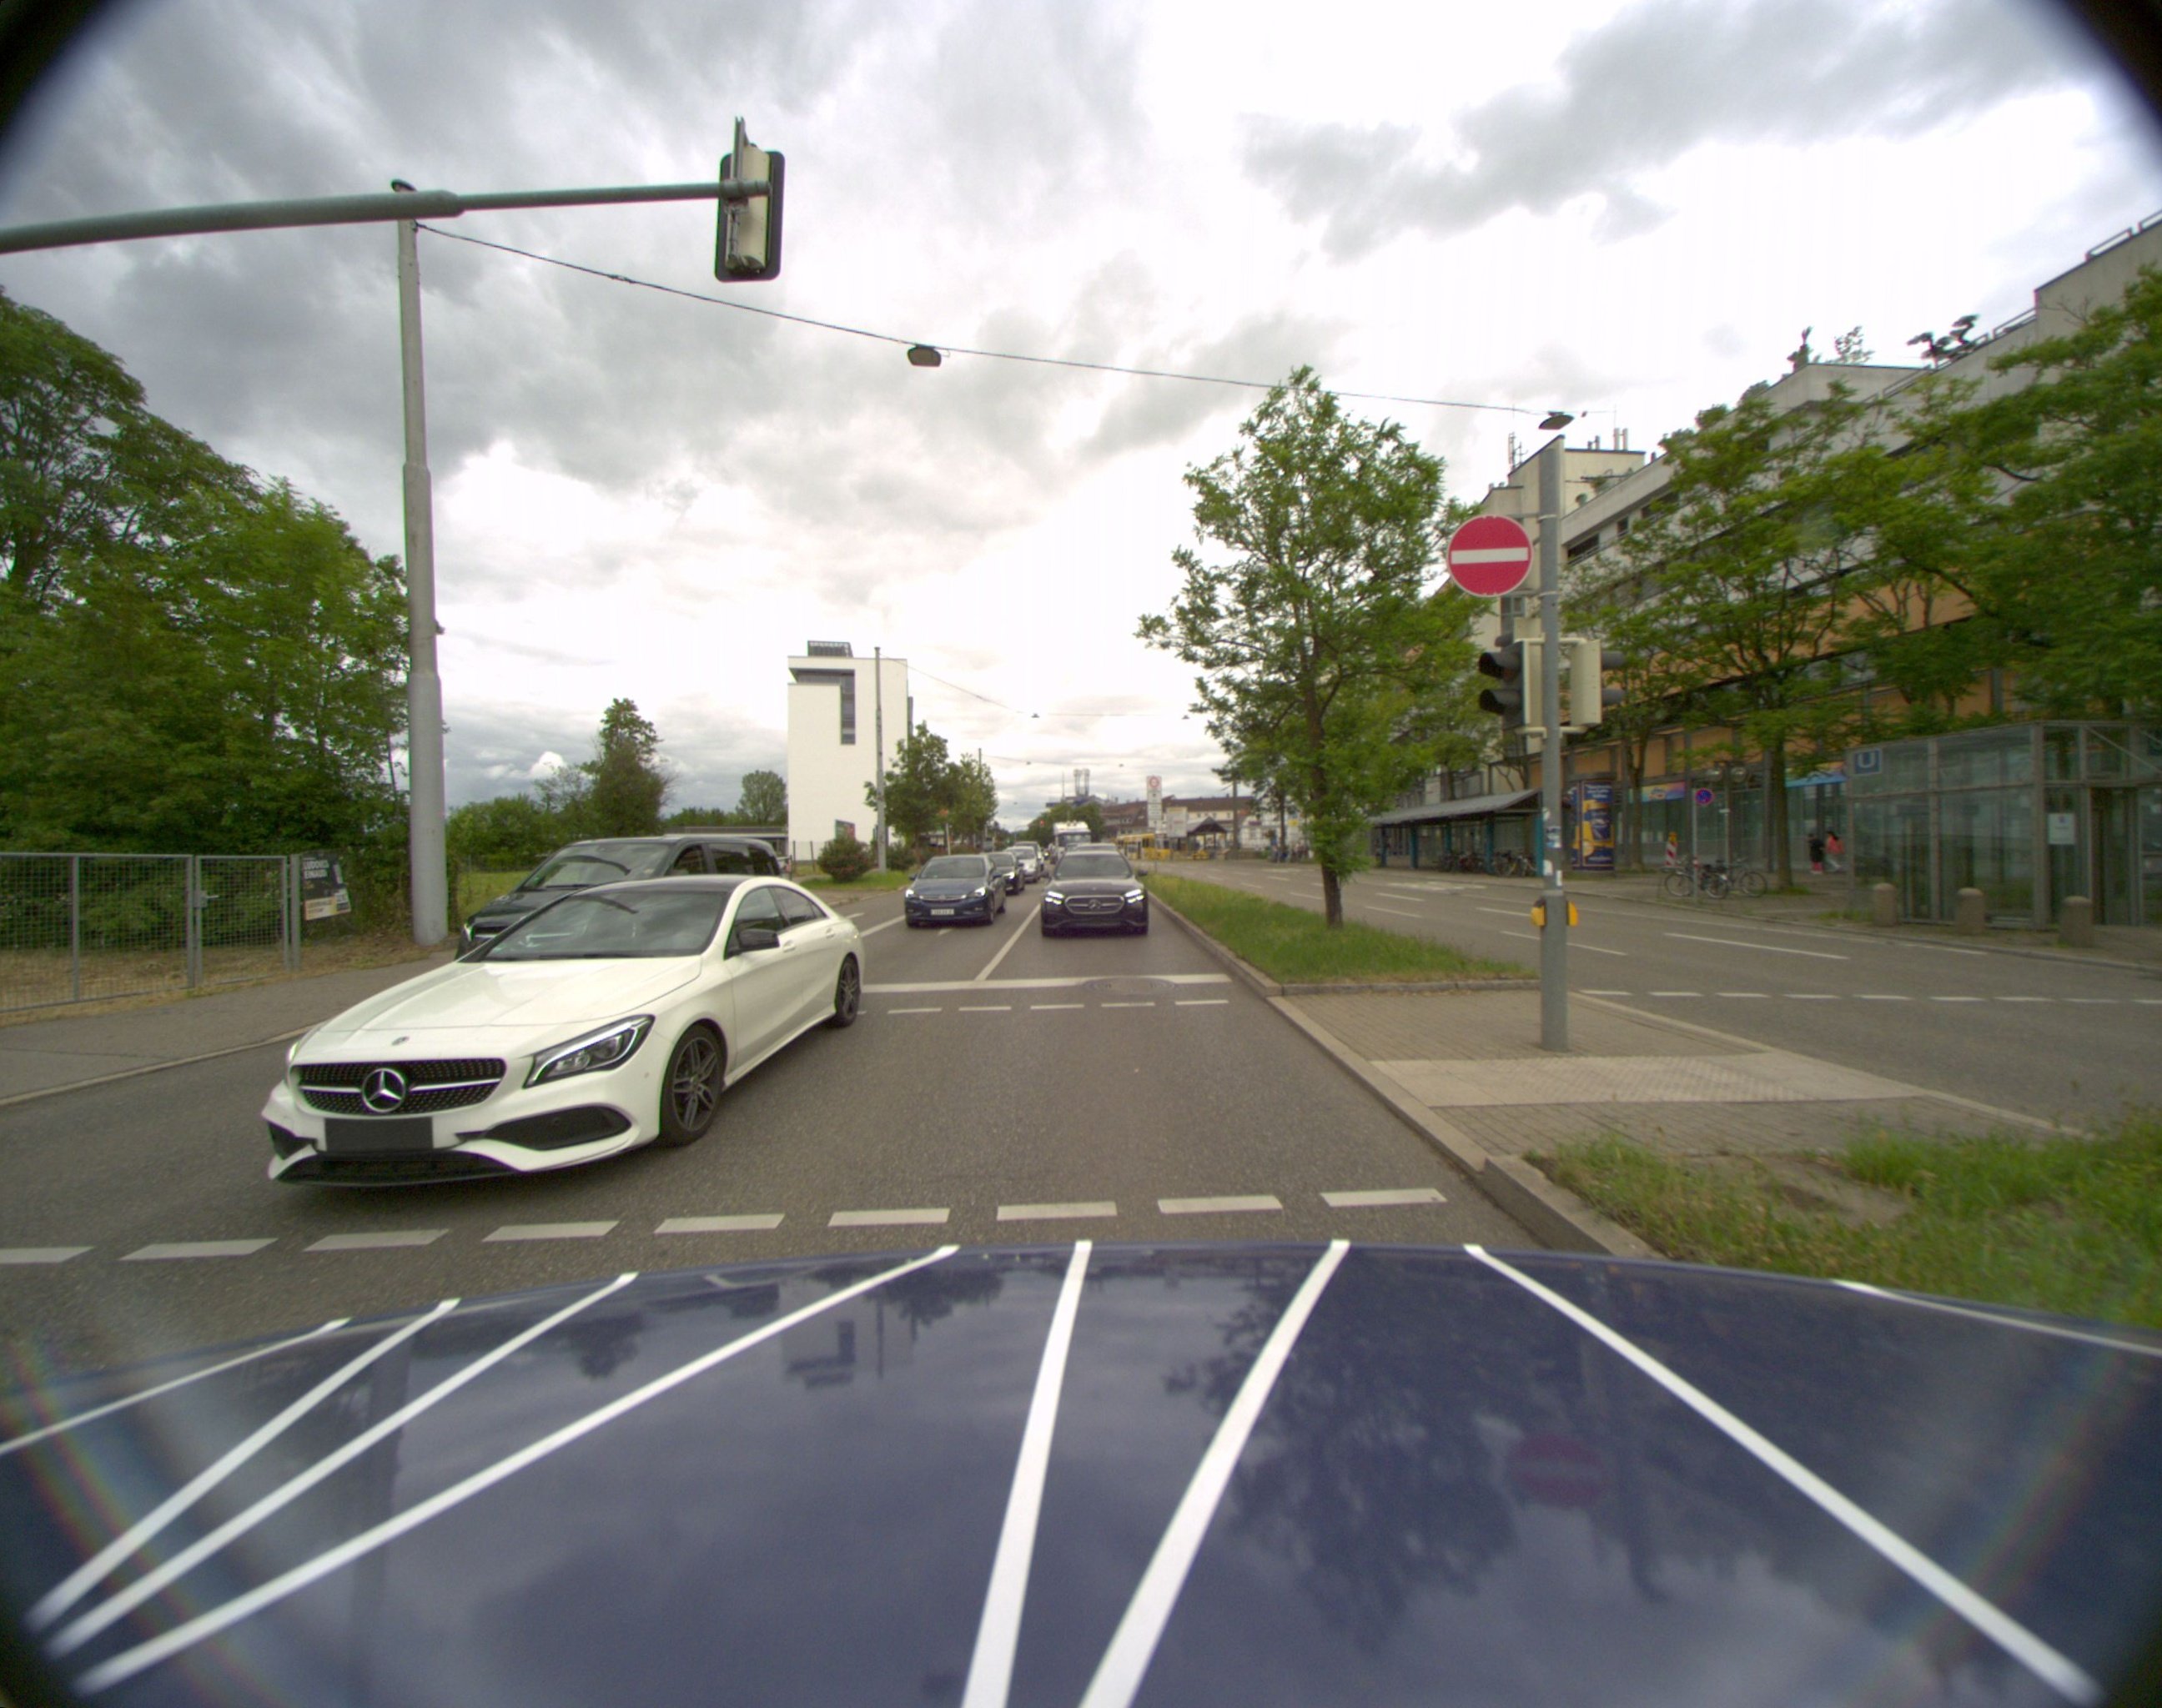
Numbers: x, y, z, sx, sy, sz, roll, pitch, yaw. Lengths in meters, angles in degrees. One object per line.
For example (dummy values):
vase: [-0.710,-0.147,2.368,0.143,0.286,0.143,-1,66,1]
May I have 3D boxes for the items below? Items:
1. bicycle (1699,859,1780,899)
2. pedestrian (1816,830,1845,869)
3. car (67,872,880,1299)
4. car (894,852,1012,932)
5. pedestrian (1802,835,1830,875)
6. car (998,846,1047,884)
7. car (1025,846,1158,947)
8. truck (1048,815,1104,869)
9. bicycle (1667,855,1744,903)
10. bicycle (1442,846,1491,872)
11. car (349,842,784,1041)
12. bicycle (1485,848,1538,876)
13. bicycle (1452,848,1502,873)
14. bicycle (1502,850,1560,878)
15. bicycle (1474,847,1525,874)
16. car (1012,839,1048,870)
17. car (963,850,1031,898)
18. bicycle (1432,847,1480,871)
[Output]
bicycle: [18.478,0.685,21.378,0.521,1.021,2.050,-2,1,1]
pedestrian: [27.762,-0.158,28.143,0.462,1.424,0.580,0,2,1]
car: [-2.978,0.962,5.301,1.798,1.464,4.698,-1,1,1]
car: [-2.668,0.733,16.852,1.798,1.464,4.310,-1,1,1]
pedestrian: [27.123,0.032,28.049,0.462,1.424,0.580,0,2,1]
car: [-2.599,0.437,34.493,1.798,1.590,4.310,-1,1,1]
car: [0.253,0.627,14.227,2.058,1.478,4.972,0,2,2]
truck: [-0.429,-0.779,50.573,3.120,3.209,6.521,-2,1,-5]
bicycle: [17.283,0.656,21.088,0.521,1.218,1.948,-2,1,1]
bicycle: [18.547,0.237,36.582,2.069,1.132,0.542,-2,2,-1]
car: [-5.852,0.804,9.670,2.015,1.877,4.874,-1,1,3]
bicycle: [18.797,0.349,33.187,2.070,1.132,0.542,-2,2,-6]
bicycle: [18.541,0.289,35.584,2.069,1.084,0.542,-2,2,-1]
bicycle: [19.054,0.401,32.198,2.206,1.084,0.542,-2,2,-6]
bicycle: [18.835,0.284,34.184,2.070,1.084,0.542,-2,2,-6]
car: [-3.082,0.012,46.648,2.021,1.760,3.999,-1,1,-2]
car: [-2.829,0.616,26.434,1.798,1.464,4.310,-1,1,1]
bicycle: [18.504,0.248,37.498,2.069,1.084,0.542,-2,2,-1]
